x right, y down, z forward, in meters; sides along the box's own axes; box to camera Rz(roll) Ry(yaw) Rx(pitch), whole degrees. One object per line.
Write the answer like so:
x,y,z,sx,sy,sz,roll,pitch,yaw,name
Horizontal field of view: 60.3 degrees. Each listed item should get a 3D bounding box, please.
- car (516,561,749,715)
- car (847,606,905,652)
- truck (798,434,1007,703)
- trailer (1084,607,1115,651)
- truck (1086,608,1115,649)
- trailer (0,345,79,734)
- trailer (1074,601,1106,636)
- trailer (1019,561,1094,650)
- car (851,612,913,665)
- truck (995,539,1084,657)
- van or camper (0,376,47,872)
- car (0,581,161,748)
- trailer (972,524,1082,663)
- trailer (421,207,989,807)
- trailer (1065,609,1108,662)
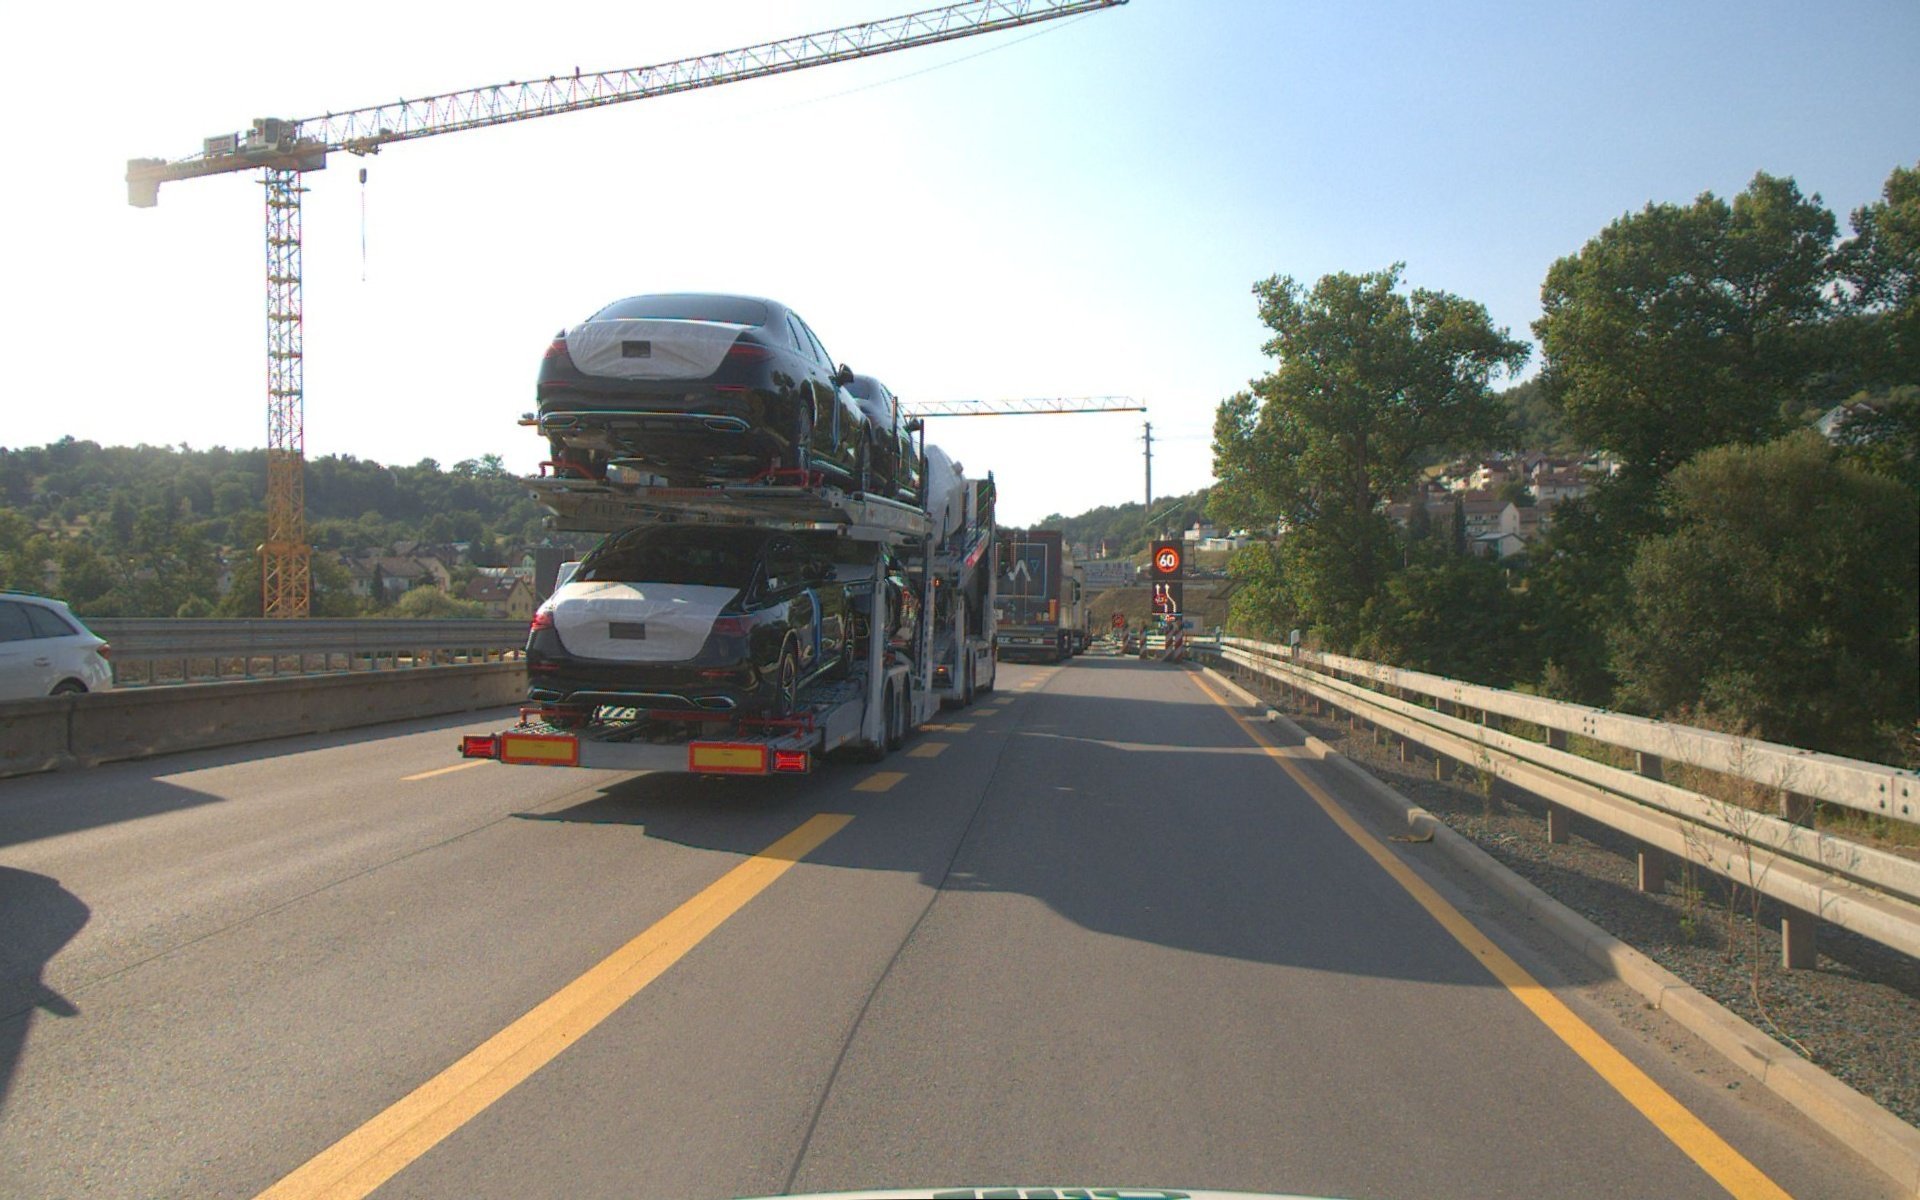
-4.744,0.511,24.785,1.985,2.015,4.982,2,0,6,car
-3.268,1.127,65.004,1.792,1.683,4.001,-1,-1,3,car
-0.787,-0.435,28.372,2.788,4.067,6.628,0,-1,5,truck
14.494,2.987,171.120,3.038,4.390,14.260,0,-1,5,trailer
15.280,3.057,179.841,3.032,4.361,6.628,0,-1,5,truck
-12.071,-0.677,11.975,2.572,4.138,14.088,-1,-1,6,trailer
17.023,2.465,215.202,4.010,4.390,14.260,0,-1,5,trailer
5.044,0.351,83.404,3.313,4.067,14.753,0,-1,5,trailer
-2.760,1.349,59.374,1.792,1.783,4.001,-1,-1,3,car
2.993,-0.020,60.356,2.824,4.067,6.629,0,-1,6,truck
-6.391,0.096,6.390,1.951,2.666,5.907,0,-1,6,van or camper
-8.877,0.560,13.992,1.868,1.389,4.454,-1,-1,3,car
2.433,-0.142,55.595,2.896,4.163,10.800,-1,-1,6,trailer
-1.622,-0.540,19.153,2.797,4.067,15.755,0,-1,5,trailer
10.317,2.774,133.617,3.313,4.067,14.753,0,-1,5,trailer
